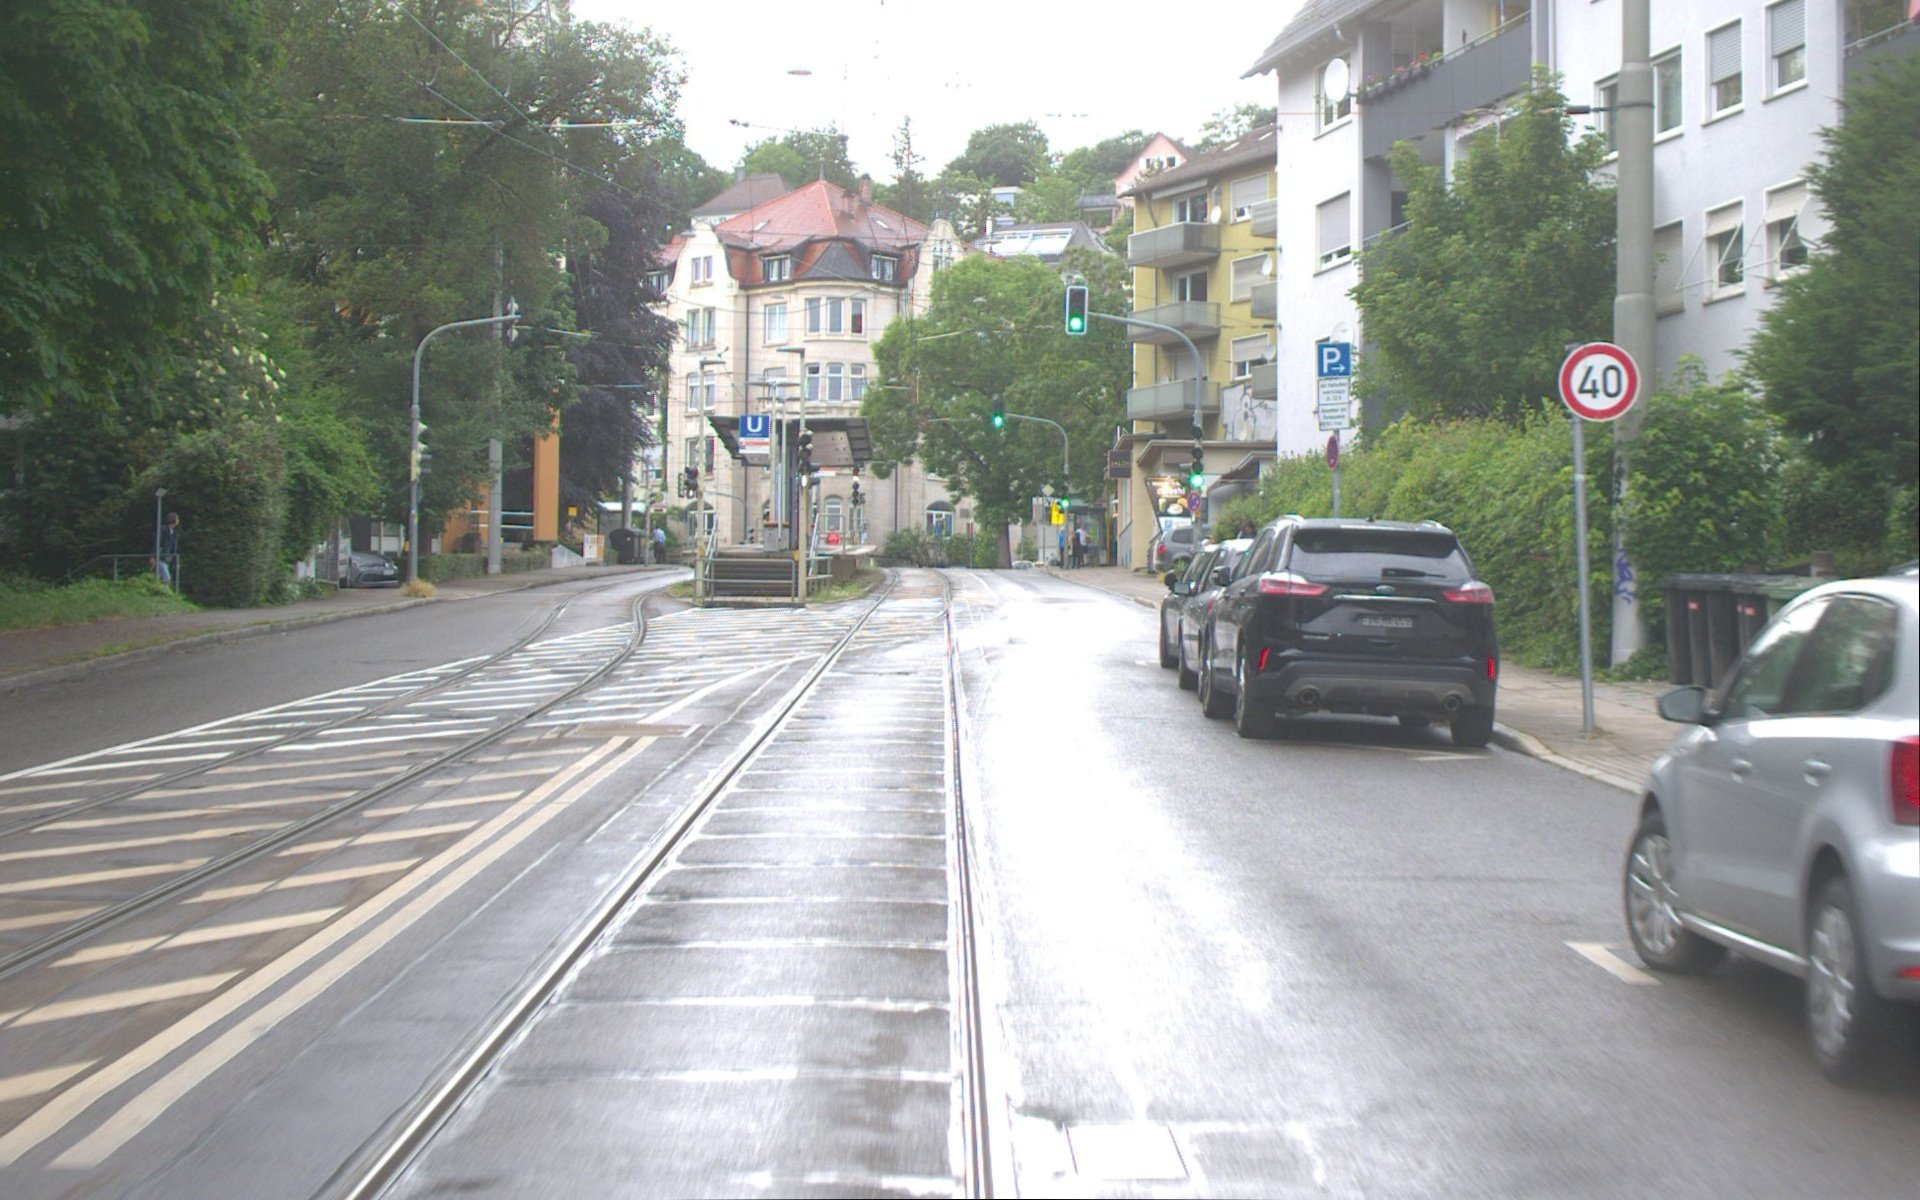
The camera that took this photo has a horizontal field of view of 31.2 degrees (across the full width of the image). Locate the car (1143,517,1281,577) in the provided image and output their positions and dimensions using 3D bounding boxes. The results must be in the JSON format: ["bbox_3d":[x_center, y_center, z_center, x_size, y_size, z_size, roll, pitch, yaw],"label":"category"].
[{"bbox_3d":[7.595,-1.603,103.927,3.987,1.640,1.807,2,-1,-1],"label":"car"}]

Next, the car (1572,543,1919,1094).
[{"bbox_3d":[3.238,0.571,10.982,1.704,1.428,4.102,2,1,-1],"label":"car"}]

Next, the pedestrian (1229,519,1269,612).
[{"bbox_3d":[5.145,-0.615,61.190,0.644,1.623,0.699,1,-1,7],"label":"pedestrian"}]

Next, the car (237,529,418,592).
[{"bbox_3d":[-15.279,-0.949,83.016,3.991,1.401,1.680,0,-3,23],"label":"car"}]

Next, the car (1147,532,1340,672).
[{"bbox_3d":[3.098,0.000,38.191,1.704,1.421,3.862,2,1,-1],"label":"car"}]

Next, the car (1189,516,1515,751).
[{"bbox_3d":[2.999,0.214,27.271,1.906,1.636,4.690,2,1,-1],"label":"car"}]

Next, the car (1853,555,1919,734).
[{"bbox_3d":[9.175,0.387,29.778,1.720,1.510,4.203,2,-3,-1],"label":"car"}]

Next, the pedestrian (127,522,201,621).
[{"bbox_3d":[-13.752,-0.491,59.411,0.916,1.672,0.739,0,-3,25],"label":"pedestrian"}]

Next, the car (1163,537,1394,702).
[{"bbox_3d":[3.001,0.151,33.170,1.704,1.423,4.251,2,1,-1],"label":"car"}]

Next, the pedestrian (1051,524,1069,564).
[{"bbox_3d":[3.798,-2.112,130.248,0.578,1.462,0.544,2,-3,-8],"label":"pedestrian"}]

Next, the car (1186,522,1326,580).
[{"bbox_3d":[8.609,-1.424,100.206,3.841,1.537,1.808,2,-1,-2],"label":"car"}]

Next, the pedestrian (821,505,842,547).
[{"bbox_3d":[-4.673,-2.675,124.786,0.657,1.462,0.772,1,-3,2],"label":"pedestrian"}]
